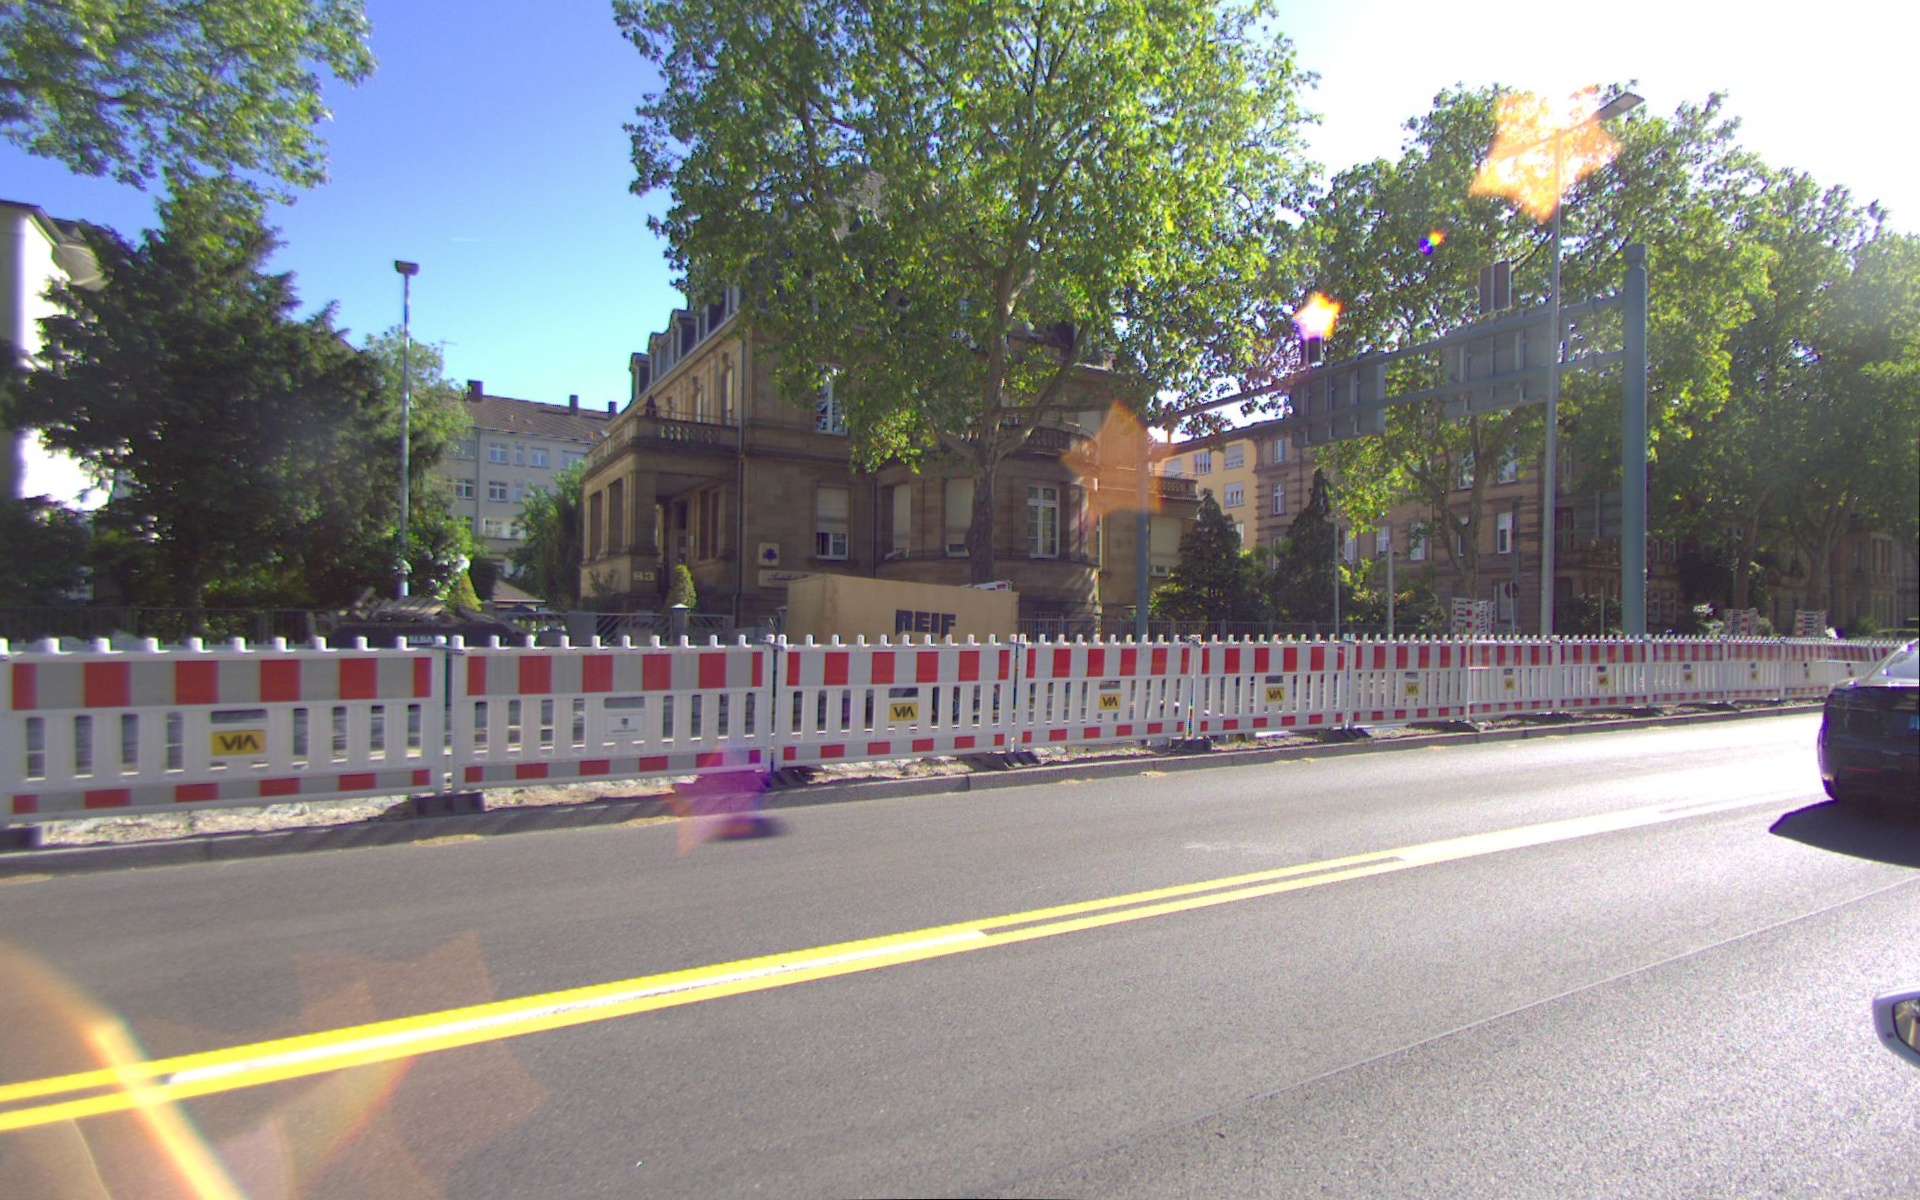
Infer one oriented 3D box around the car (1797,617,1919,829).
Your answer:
[{"bbox_3d":[8.834,0.927,8.107,4.424,1.502,1.829,1,-1,-30],"label":"car"}]
